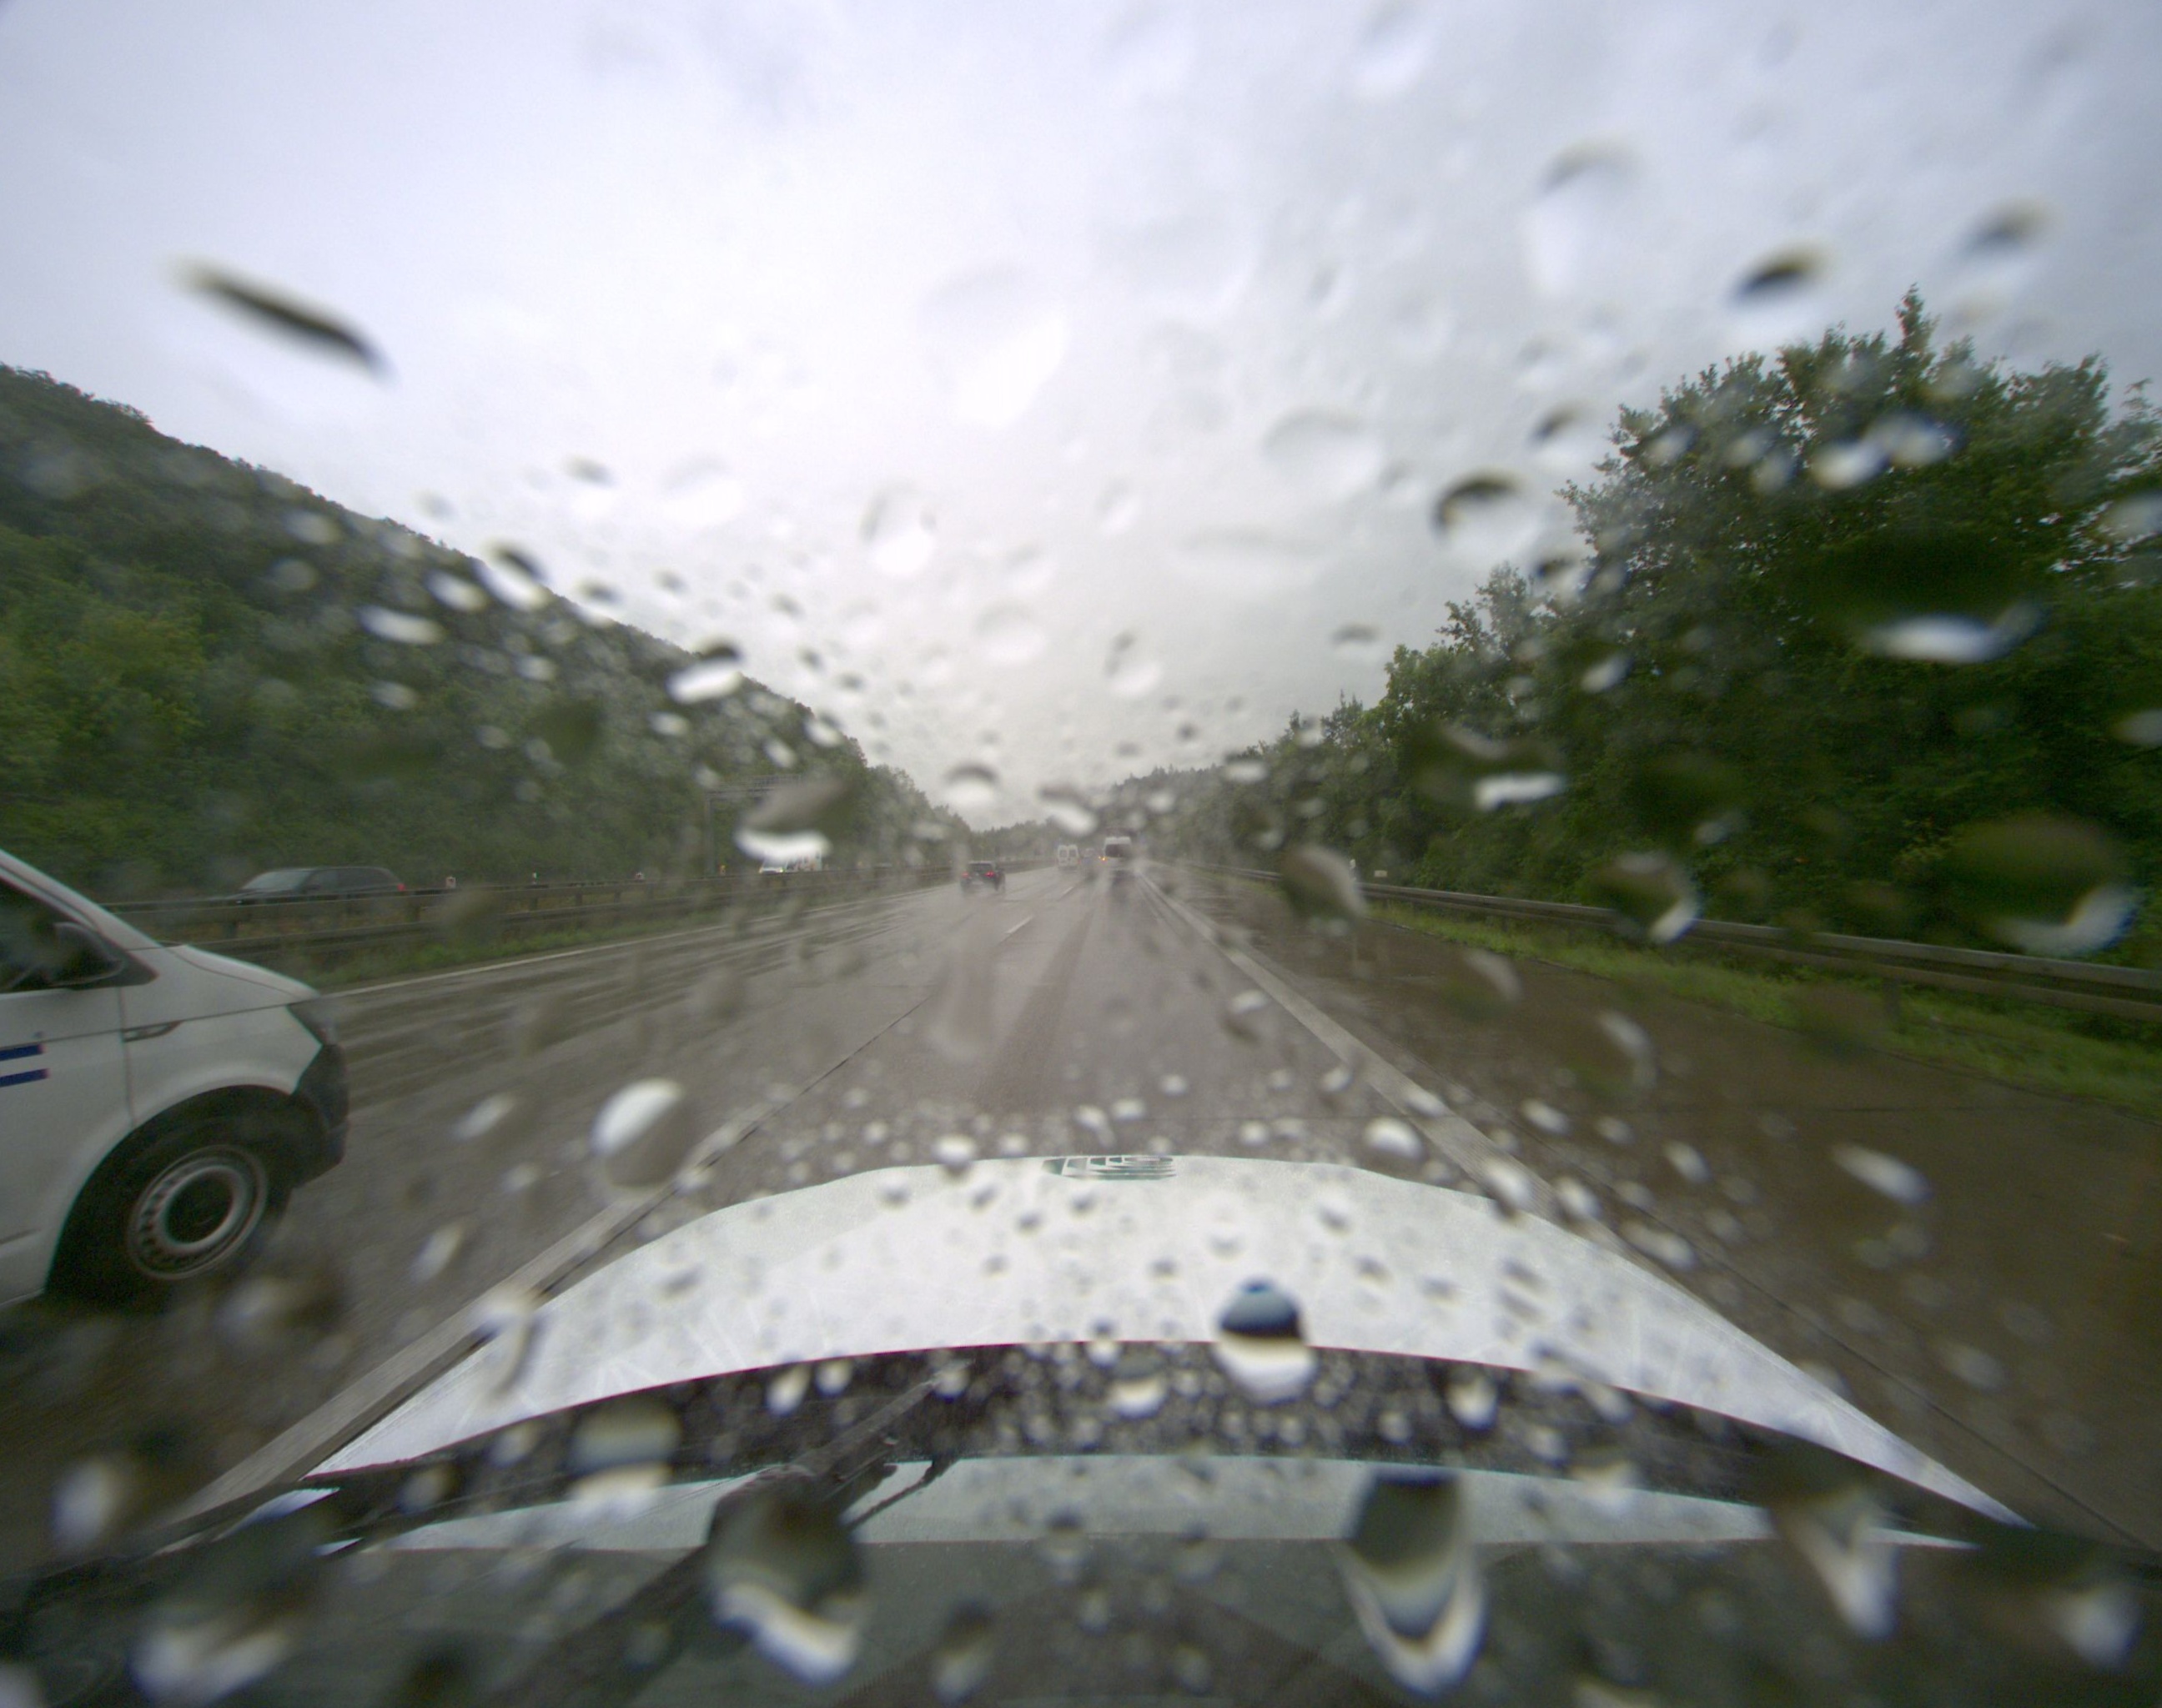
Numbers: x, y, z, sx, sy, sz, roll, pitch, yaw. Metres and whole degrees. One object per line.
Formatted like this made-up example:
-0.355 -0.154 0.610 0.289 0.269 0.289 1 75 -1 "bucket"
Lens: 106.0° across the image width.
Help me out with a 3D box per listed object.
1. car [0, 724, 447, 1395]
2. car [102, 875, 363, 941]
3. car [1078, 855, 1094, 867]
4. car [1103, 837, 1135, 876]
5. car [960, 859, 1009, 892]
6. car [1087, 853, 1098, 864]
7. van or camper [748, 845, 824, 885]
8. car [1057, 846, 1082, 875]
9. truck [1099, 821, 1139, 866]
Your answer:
-4.045 0.600 1.338 1.892 1.894 5.045 -1 0 2 "car"
-20.345 1.221 19.856 1.746 1.303 4.345 0 0 1 "car"
0.581 0.859 101.415 1.851 1.339 4.349 0 0 -1 "car"
2.366 0.139 51.863 1.893 2.334 5.251 0 0 1 "car"
-4.522 0.985 38.754 1.735 1.388 4.321 -2 0 1 "car"
1.956 0.810 140.757 1.862 1.810 4.189 0 0 1 "car"
-21.815 0.783 60.671 2.546 2.718 7.503 -1 0 3 "van or camper"
-0.976 0.554 72.861 1.991 2.432 5.791 0 0 1 "car"
3.593 -1.115 78.648 3.372 3.967 8.671 -3 2 2 "truck"
